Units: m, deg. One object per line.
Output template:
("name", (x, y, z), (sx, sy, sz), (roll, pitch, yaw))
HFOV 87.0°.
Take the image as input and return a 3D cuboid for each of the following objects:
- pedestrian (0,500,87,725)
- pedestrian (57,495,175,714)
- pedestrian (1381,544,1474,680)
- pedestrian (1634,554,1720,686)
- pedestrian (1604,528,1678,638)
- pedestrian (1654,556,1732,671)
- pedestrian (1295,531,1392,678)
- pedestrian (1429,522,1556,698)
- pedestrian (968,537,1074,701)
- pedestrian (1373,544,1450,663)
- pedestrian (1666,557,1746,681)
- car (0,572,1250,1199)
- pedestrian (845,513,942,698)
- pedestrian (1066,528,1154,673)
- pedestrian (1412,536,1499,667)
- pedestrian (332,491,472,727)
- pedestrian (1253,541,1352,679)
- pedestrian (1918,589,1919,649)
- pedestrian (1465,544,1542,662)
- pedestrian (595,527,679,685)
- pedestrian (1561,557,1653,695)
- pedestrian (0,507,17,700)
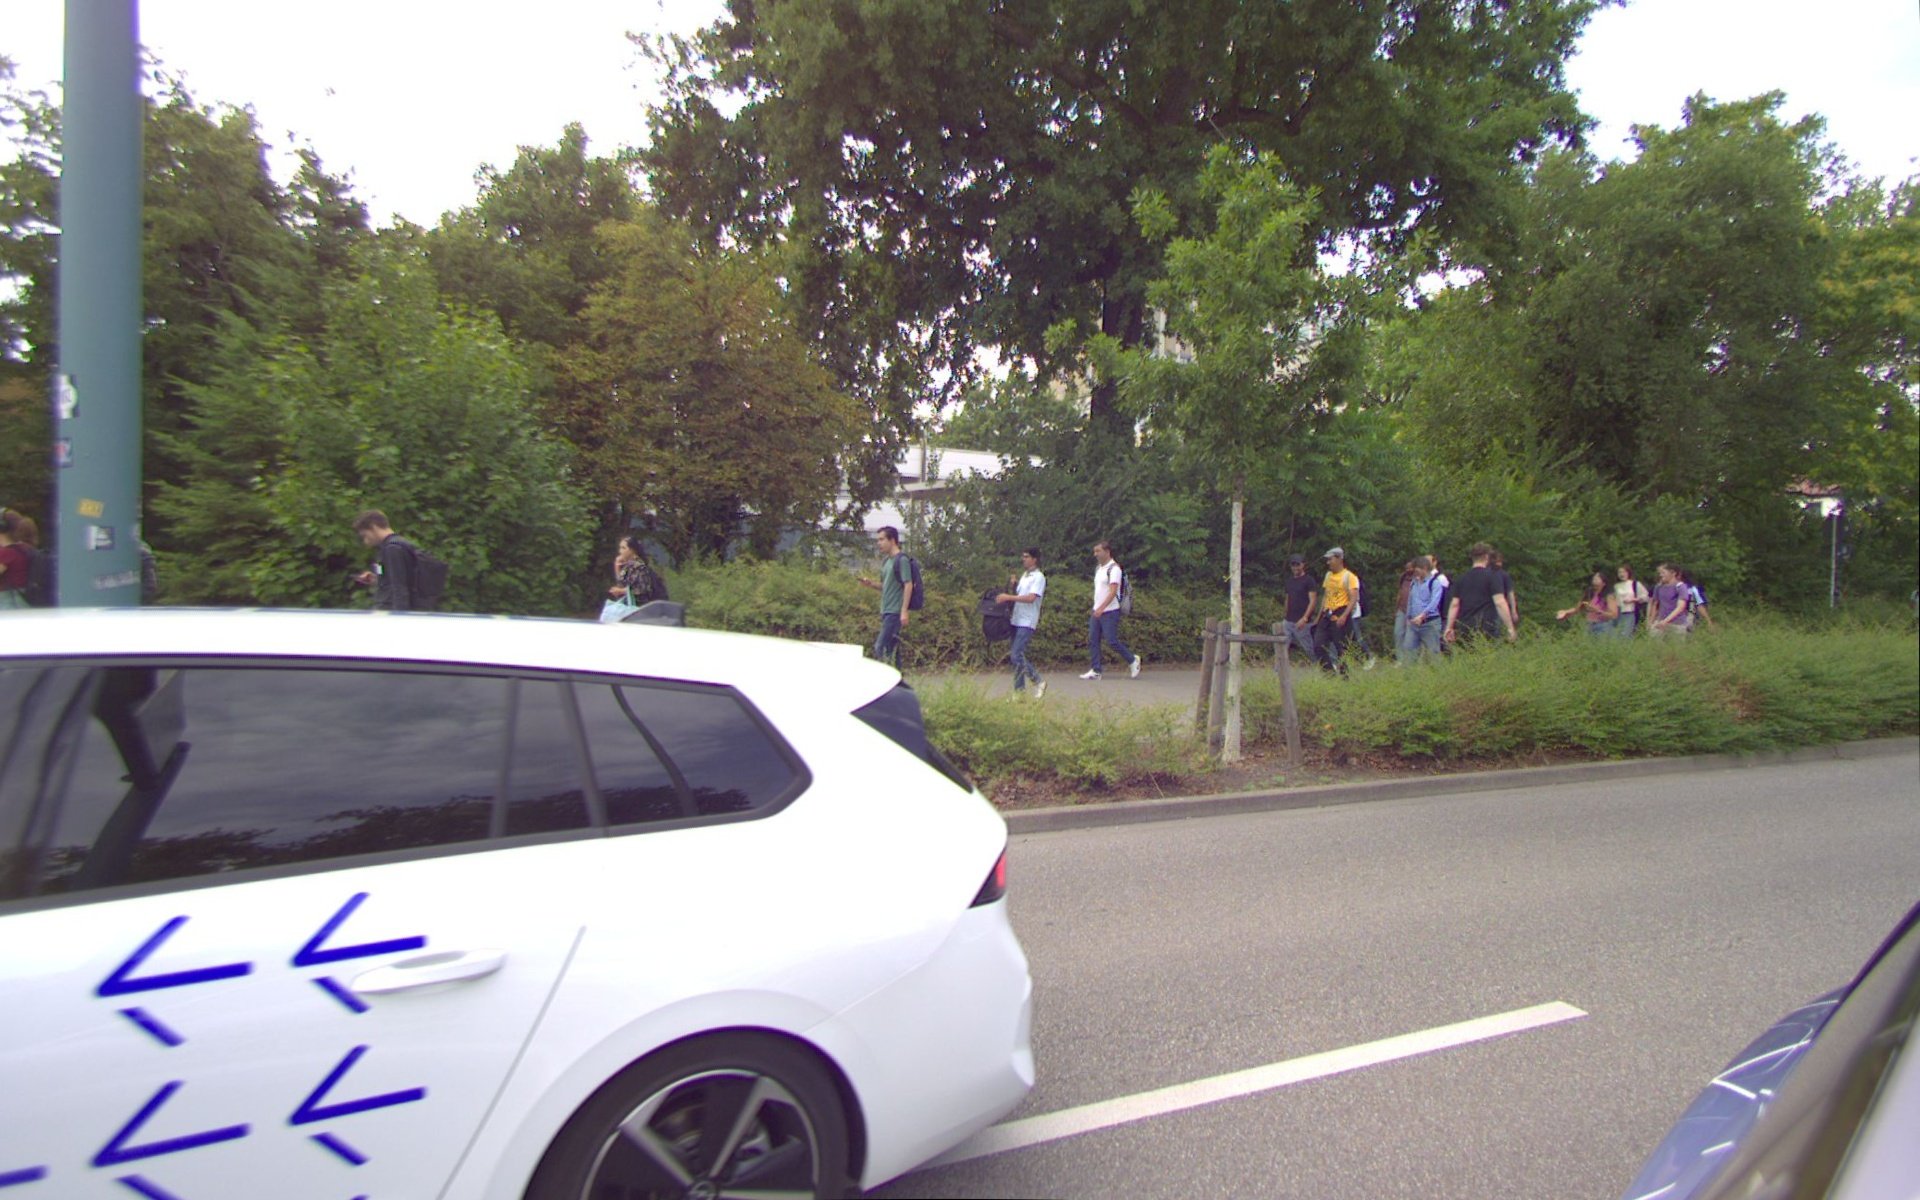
("pedestrian", (-7.290, 0.083, 7.780), (0.738, 1.675, 0.559), (1, 2, -23))
("pedestrian", (-7.156, 0.034, 8.606), (0.650, 1.785, 0.487), (1, 1, -23))
("pedestrian", (5.940, 0.143, 12.869), (0.795, 1.668, 0.660), (1, 2, -25))
("pedestrian", (9.957, 0.263, 14.066), (0.764, 1.766, 0.627), (1, 2, -25))
("pedestrian", (11.246, -0.288, 16.713), (0.764, 1.766, 0.660), (1, 2, -25))
("pedestrian", (11.605, 0.198, 16.031), (0.764, 1.766, 0.660), (1, 2, -25))
("pedestrian", (4.624, 0.047, 12.212), (0.824, 1.710, 0.660), (1, 2, -25))
("pedestrian", (5.894, 0.090, 11.263), (0.871, 1.853, 0.936), (2, 1, 4))
("pedestrian", (0.618, 0.175, 10.482), (0.795, 1.622, 0.780), (1, 2, -23))
("pedestrian", (6.758, 0.042, 15.147), (0.764, 1.720, 0.660), (1, 2, -25))
("pedestrian", (10.945, 0.260, 14.851), (0.773, 1.766, 0.584), (1, 2, -25))
("car", (-1.772, 0.691, 2.175), (4.685, 1.456, 1.748), (1, 2, -28))
("pedestrian", (-0.698, 0.048, 10.560), (0.795, 1.843, 0.659), (1, 2, -23))
("pedestrian", (1.896, -0.004, 12.839), (0.795, 1.766, 0.725), (1, 2, -23))
("pedestrian", (6.982, 0.024, 14.266), (0.938, 1.789, 0.660), (1, -1, -25))
("pedestrian", (-4.619, 0.064, 8.433), (0.934, 1.843, 0.696), (1, 2, -23))
("pedestrian", (4.333, 0.112, 12.808), (0.951, 1.687, 0.660), (1, 2, -25))
("pedestrian", (20.454, 0.126, 20.950), (0.725, 1.817, 0.648), (1, 1, -26))
("pedestrian", (8.333, 0.035, 15.519), (0.764, 1.766, 0.660), (1, 2, -25))
("pedestrian", (-3.431, 0.053, 10.726), (0.769, 1.603, 0.639), (1, 2, -23))
("pedestrian", (8.557, 0.321, 13.392), (0.764, 1.766, 0.660), (1, 2, -25))
("pedestrian", (-8.523, 0.023, 8.584), (0.639, 1.653, 0.470), (1, 2, -23))
